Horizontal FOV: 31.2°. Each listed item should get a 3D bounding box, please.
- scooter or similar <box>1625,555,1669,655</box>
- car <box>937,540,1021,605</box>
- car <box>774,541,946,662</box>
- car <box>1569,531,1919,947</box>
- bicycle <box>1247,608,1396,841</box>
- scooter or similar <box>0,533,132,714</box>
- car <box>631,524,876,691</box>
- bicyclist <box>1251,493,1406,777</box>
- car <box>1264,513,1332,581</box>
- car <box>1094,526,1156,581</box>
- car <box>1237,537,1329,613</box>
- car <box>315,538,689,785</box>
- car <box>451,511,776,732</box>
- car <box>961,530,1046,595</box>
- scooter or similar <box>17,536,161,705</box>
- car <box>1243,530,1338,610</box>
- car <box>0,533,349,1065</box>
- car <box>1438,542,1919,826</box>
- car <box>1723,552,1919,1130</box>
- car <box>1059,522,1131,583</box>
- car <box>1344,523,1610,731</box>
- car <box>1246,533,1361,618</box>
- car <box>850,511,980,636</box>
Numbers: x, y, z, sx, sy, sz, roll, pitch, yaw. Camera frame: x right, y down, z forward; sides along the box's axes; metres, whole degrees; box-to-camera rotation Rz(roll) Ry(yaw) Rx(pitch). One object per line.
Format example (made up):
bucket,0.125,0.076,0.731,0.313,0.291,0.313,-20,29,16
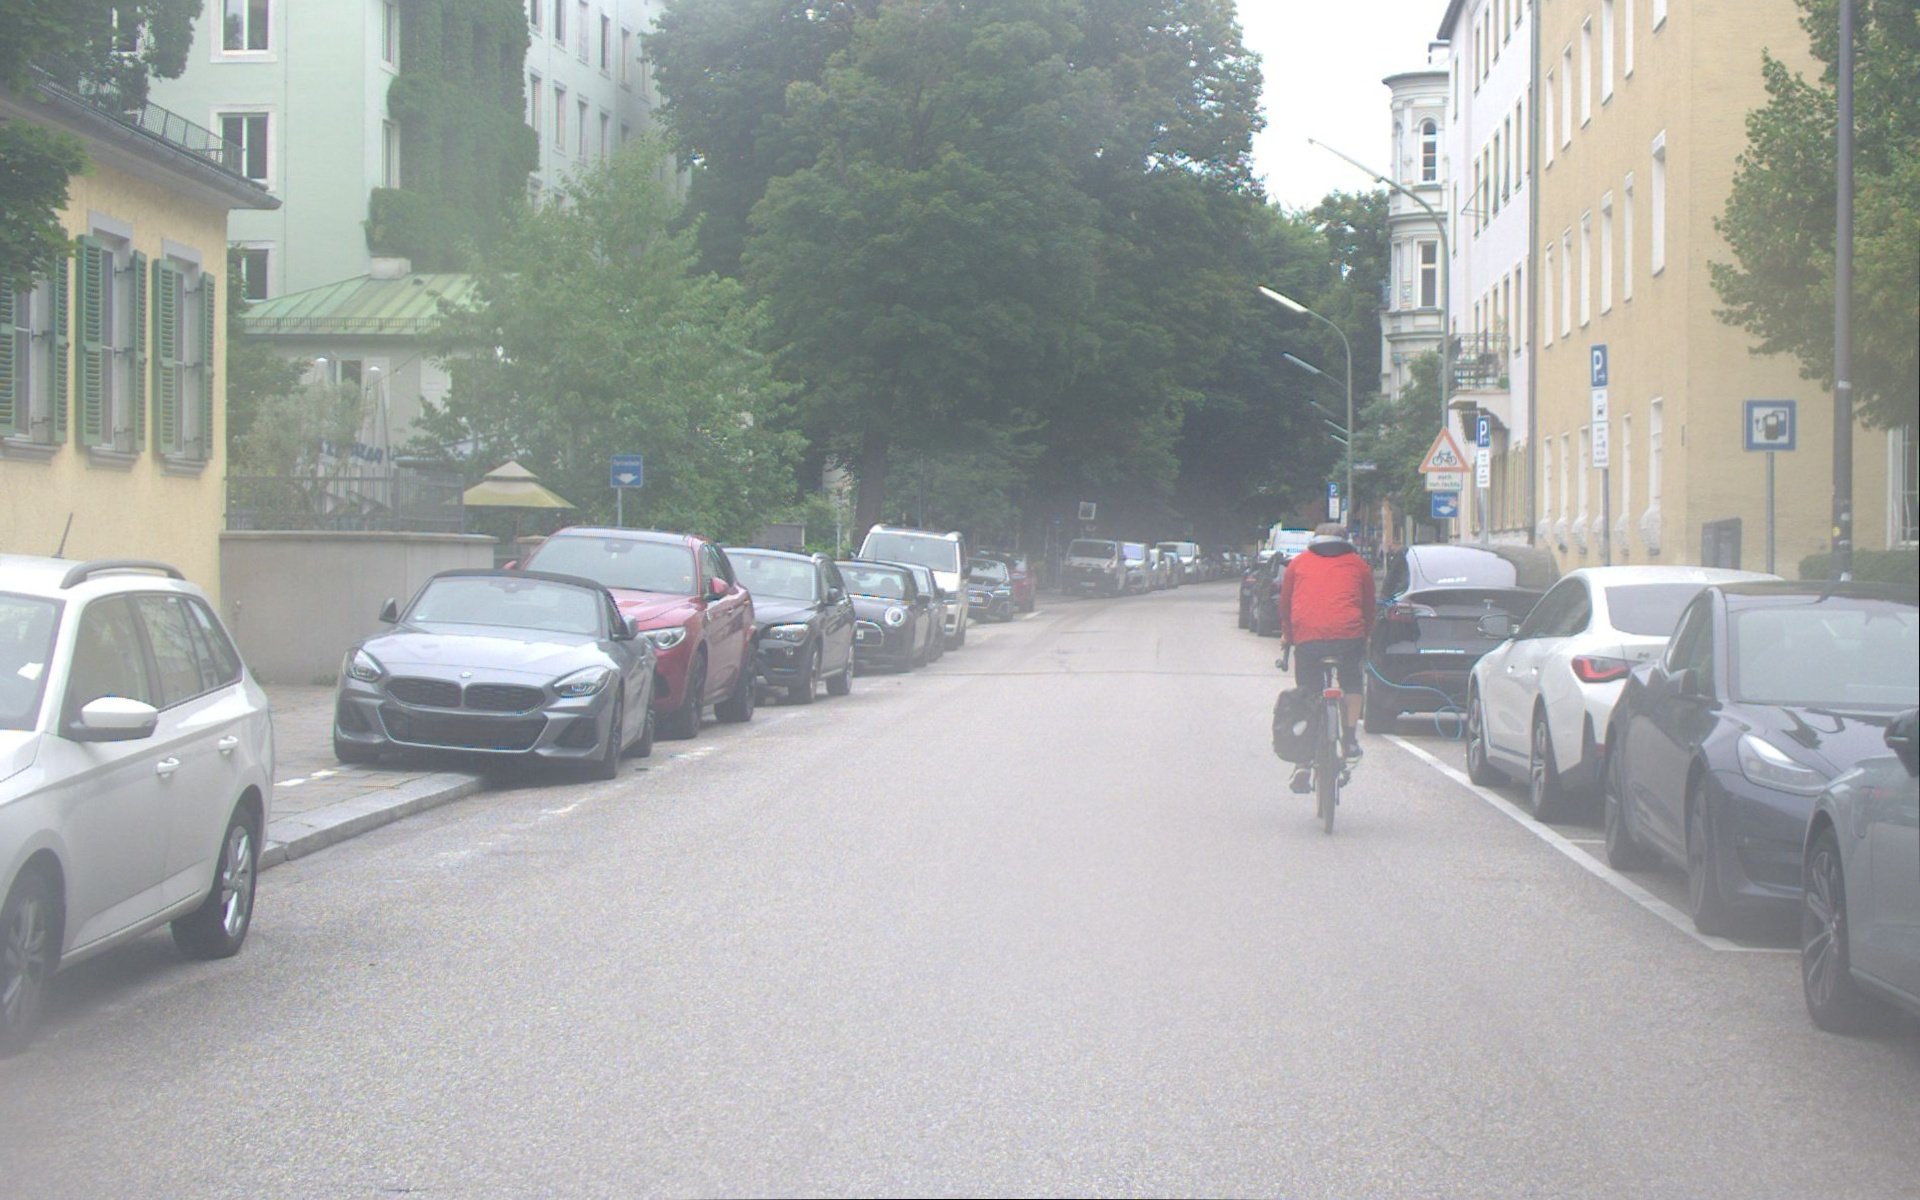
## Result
scooter or similar,8.839,0.054,44.266,0.342,1.251,1.309,-2,1,3
car,0.465,-0.660,78.968,1.807,1.397,4.924,1,1,2
car,-1.322,-0.008,47.181,1.859,1.539,4.187,-2,1,5
car,4.003,0.497,15.326,1.962,1.547,4.849,2,1,4
bicycle,1.958,0.633,18.429,0.672,1.137,2.010,2,1,9
scooter or similar,-6.886,0.160,26.016,0.375,1.338,1.350,1,1,30
car,-2.098,0.037,36.335,1.846,1.602,4.742,2,1,5
bicyclist,2.006,0.179,18.620,0.755,1.478,0.981,2,1,9
car,11.371,-1.759,115.937,2.204,2.201,4.854,-1,0,5
car,6.180,-1.757,128.241,2.184,1.950,5.166,2,1,4
car,6.786,-0.557,72.300,1.839,1.526,4.415,-1,1,5
car,-3.084,0.348,24.071,1.896,1.513,4.655,1,1,1
car,-2.858,0.128,29.458,1.902,1.686,4.807,2,1,5
car,1.145,-0.970,88.676,1.887,1.585,4.527,2,1,4
scooter or similar,-6.906,0.148,27.302,0.364,1.309,1.251,1,1,28
car,7.419,-0.702,77.566,1.994,1.701,4.534,2,1,4
car,-3.470,0.524,11.737,1.725,1.487,4.461,1,1,3
car,4.203,0.407,20.781,1.993,1.455,4.957,1,1,1
car,3.583,0.674,9.451,1.947,1.547,5.005,1,1,2
car,4.612,-1.619,116.627,2.248,1.950,5.453,2,1,4
car,4.456,0.177,30.319,1.994,1.625,5.099,2,1,5
car,6.635,-0.503,66.857,1.860,1.571,4.899,-1,1,2
car,-0.714,-0.475,58.222,1.966,1.983,5.152,1,1,2
